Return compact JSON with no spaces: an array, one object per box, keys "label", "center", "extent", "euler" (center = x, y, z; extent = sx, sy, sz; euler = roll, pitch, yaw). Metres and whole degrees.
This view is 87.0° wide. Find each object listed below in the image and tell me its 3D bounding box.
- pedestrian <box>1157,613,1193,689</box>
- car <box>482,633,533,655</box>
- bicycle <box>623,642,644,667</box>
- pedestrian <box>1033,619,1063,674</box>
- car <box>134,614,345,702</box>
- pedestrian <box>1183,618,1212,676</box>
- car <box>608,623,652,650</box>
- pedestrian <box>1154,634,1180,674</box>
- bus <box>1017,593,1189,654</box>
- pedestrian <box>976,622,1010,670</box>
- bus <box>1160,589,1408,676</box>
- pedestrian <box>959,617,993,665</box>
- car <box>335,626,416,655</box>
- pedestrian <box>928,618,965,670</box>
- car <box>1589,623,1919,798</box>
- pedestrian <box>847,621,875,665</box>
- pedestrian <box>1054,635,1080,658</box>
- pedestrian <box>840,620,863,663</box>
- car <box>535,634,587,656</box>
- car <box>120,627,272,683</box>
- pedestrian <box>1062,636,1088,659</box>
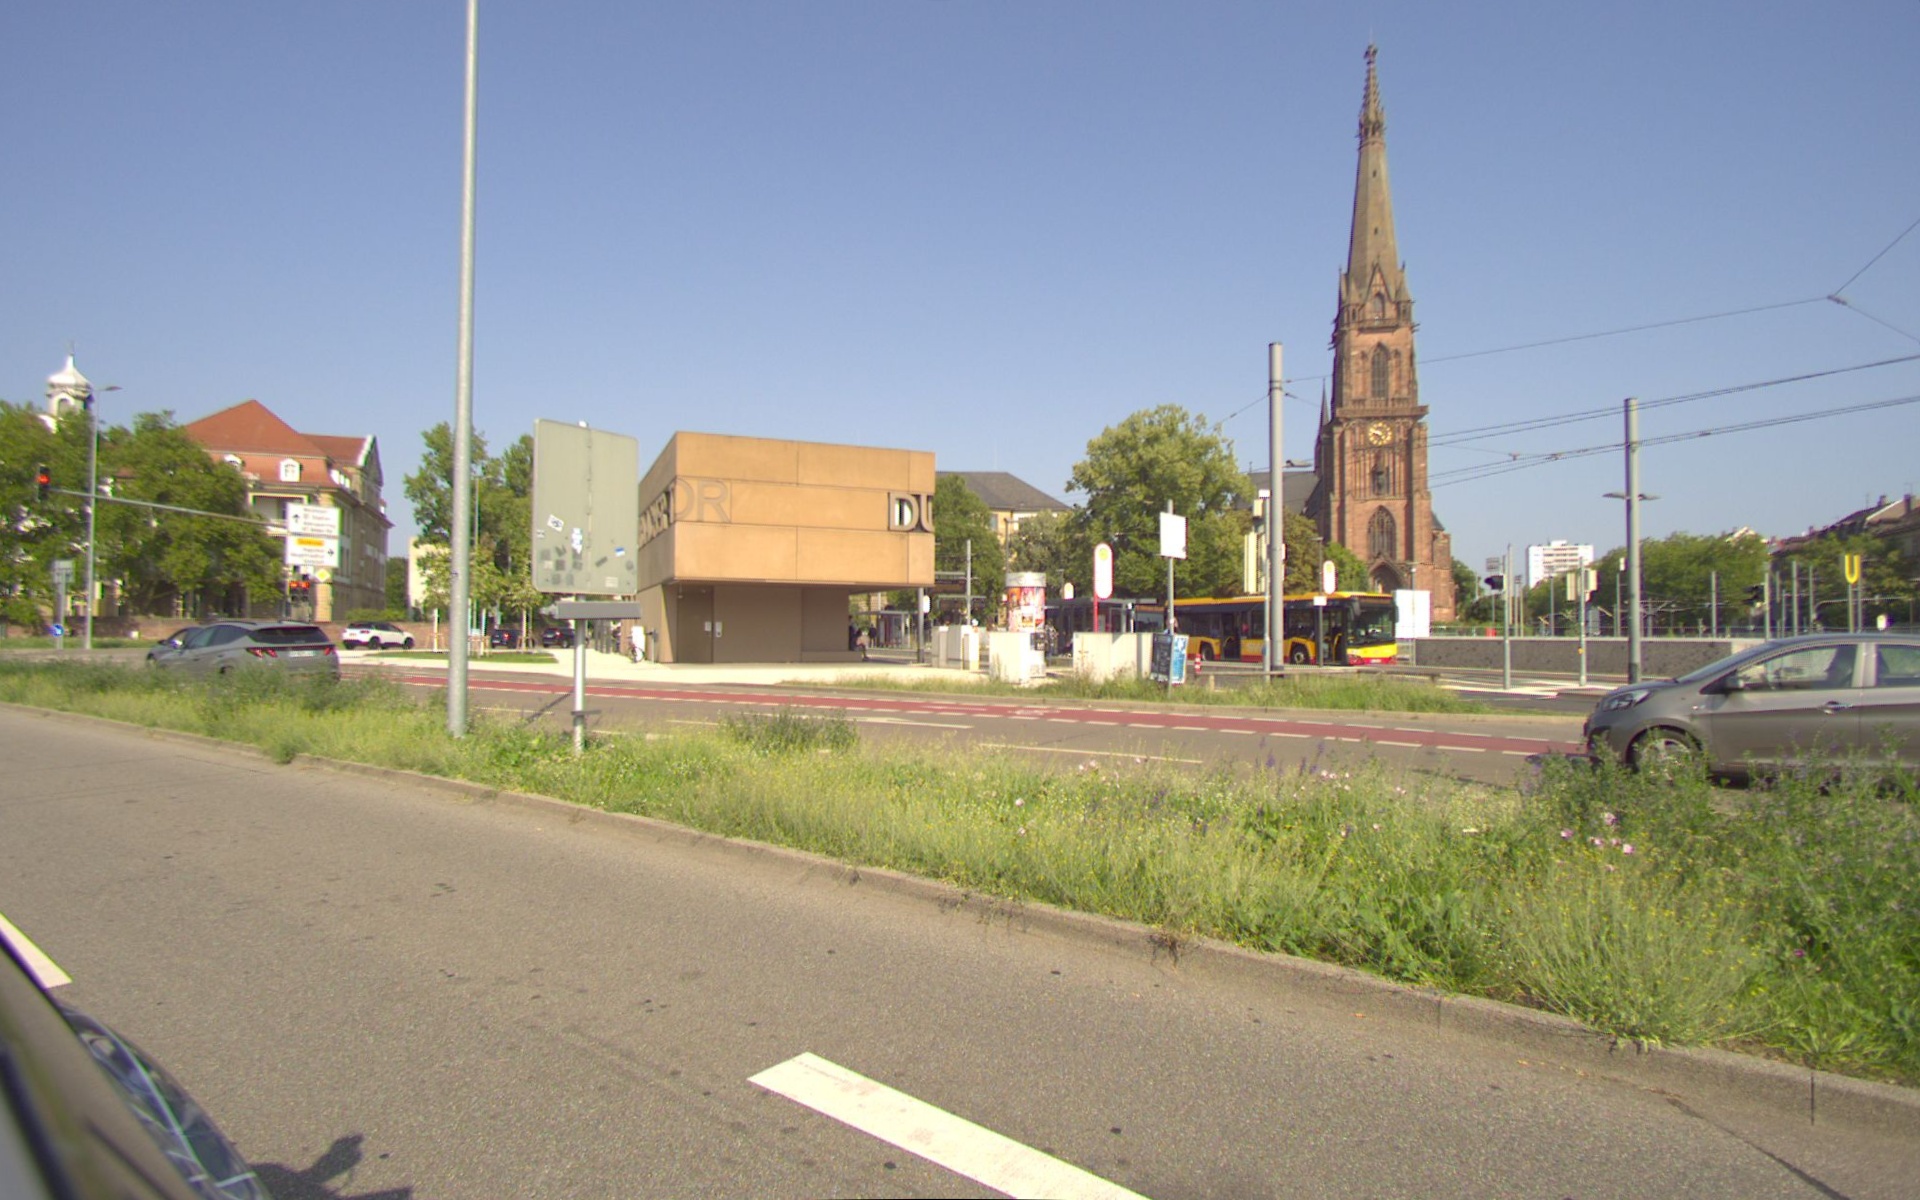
[{"label":"pedestrian","center":[5.260,1.238,24.736],"extent":[0.697,1.814,0.773],"euler":[-1,-2,25]},{"label":"car","center":[-32.975,3.185,73.856],"extent":[1.607,1.509,3.839],"euler":[0,-2,9]},{"label":"bicycle","center":[-11.876,1.981,36.794],"extent":[0.582,0.844,1.552],"euler":[-2,-1,-22]},{"label":"pedestrian","center":[2.927,1.543,33.768],"extent":[0.689,1.814,0.782],"euler":[1,-2,-25]},{"label":"car","center":[-14.707,1.132,20.612],"extent":[4.440,1.630,1.683],"euler":[-1,-2,28]},{"label":"pedestrian","center":[7.539,1.480,32.102],"extent":[0.699,1.814,0.771],"euler":[-1,-2,32]},{"label":"car","center":[-32.876,3.638,101.042],"extent":[1.976,2.470,5.540],"euler":[-1,0,7]},{"label":"pedestrian","center":[9.220,2.405,45.167],"extent":[0.816,1.752,0.838],"euler":[1,-2,-19]},{"label":"bus","center":[7.431,1.365,55.720],"extent":[3.242,3.000,12.838],"euler":[1,-2,-23]},{"label":"pedestrian","center":[1.092,1.532,33.819],"extent":[0.851,1.571,0.993],"euler":[1,-2,-16]},{"label":"bus","center":[13.083,1.385,42.860],"extent":[2.669,3.132,12.254],"euler":[1,-2,-23]},{"label":"pedestrian","center":[0.583,1.443,35.837],"extent":[0.861,1.685,0.981],"euler":[-1,-2,27]},{"label":"car","center":[-35.231,2.439,61.166],"extent":[1.977,1.646,4.360],"euler":[0,-2,8]},{"label":"pedestrian","center":[-0.480,1.522,35.337],"extent":[0.974,1.783,0.867],"euler":[2,-3,-42]},{"label":"car","center":[8.154,0.963,9.557],"extent":[3.667,1.463,1.872],"euler":[-1,-2,35]},{"label":"pedestrian","center":[-3.849,1.671,39.386],"extent":[0.851,1.718,0.734],"euler":[1,-2,-26]},{"label":"pedestrian","center":[5.285,2.305,50.000],"extent":[1.013,1.142,0.740],"euler":[1,-2,-31]},{"label":"pedestrian","center":[-4.556,1.744,42.573],"extent":[0.707,1.751,0.859],"euler":[1,-2,-24]},{"label":"car","center":[-31.680,3.581,80.478],"extent":[1.976,1.646,4.362],"euler":[0,-2,7]},{"label":"car","center":[-21.090,1.465,27.910],"extent":[4.207,1.444,1.801],"euler":[-1,-2,30]},{"label":"pedestrian","center":[5.581,2.301,49.179],"extent":[1.013,1.142,0.740],"euler":[1,-2,-31]}]
